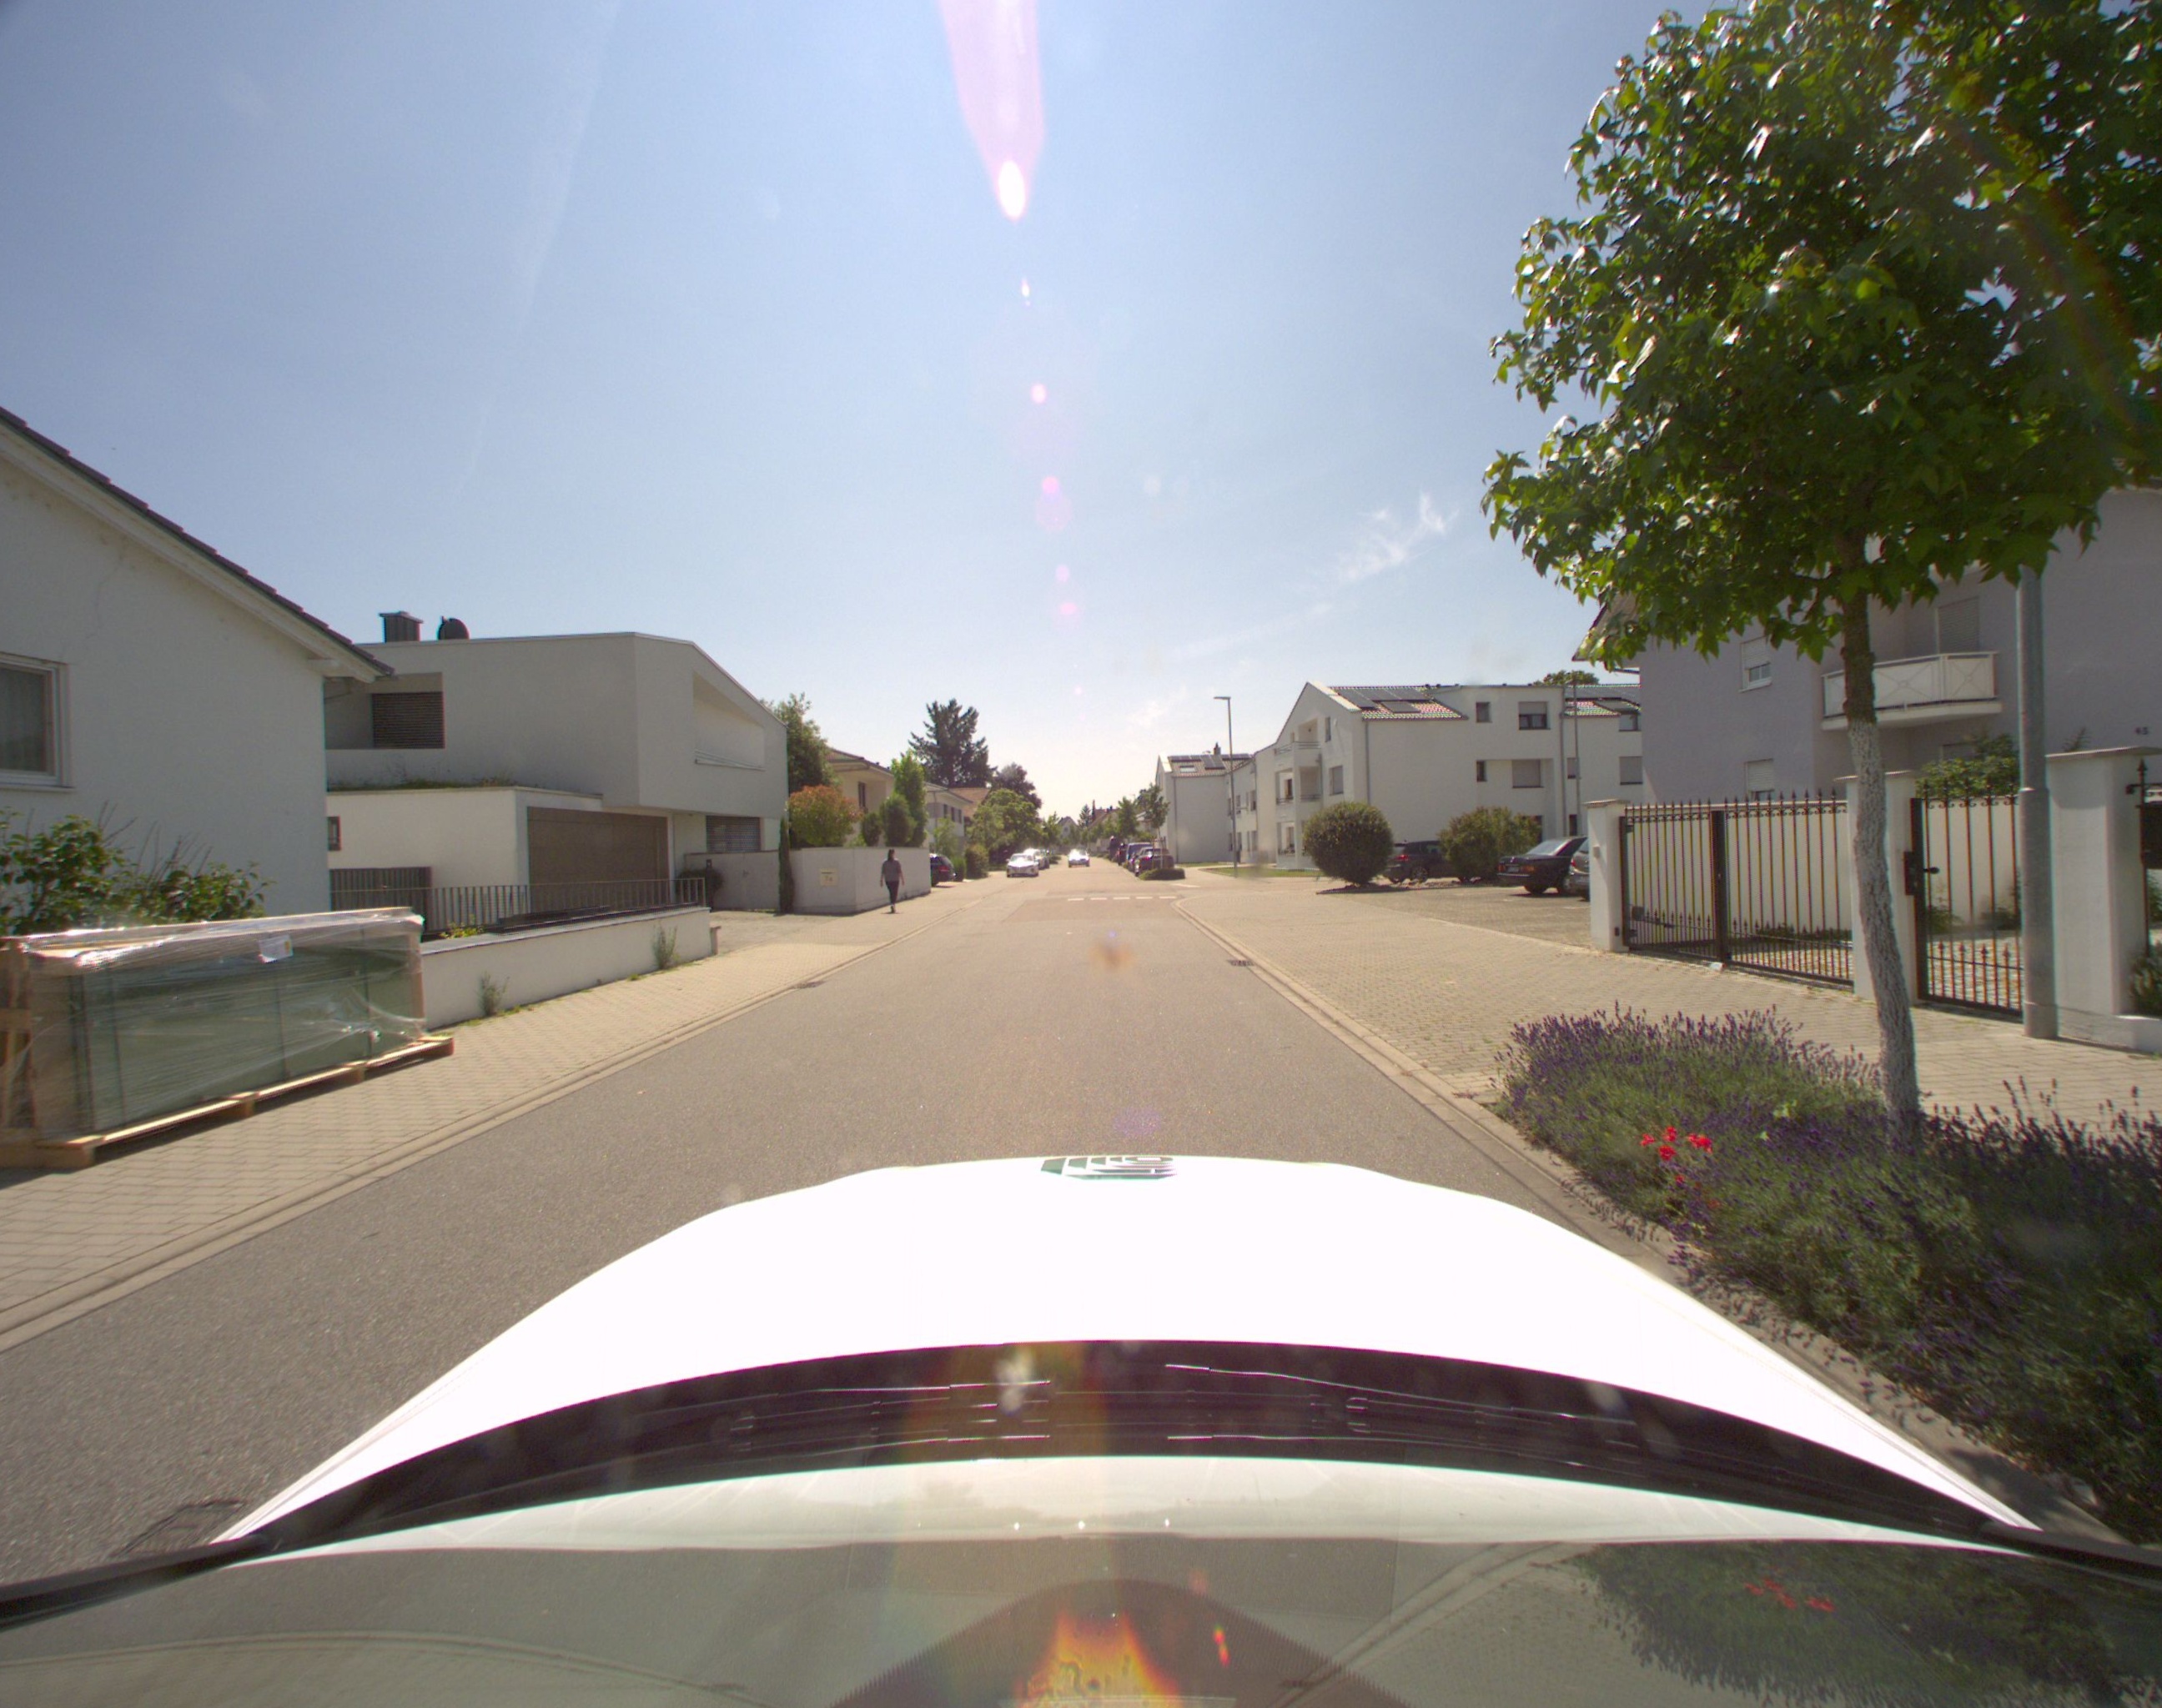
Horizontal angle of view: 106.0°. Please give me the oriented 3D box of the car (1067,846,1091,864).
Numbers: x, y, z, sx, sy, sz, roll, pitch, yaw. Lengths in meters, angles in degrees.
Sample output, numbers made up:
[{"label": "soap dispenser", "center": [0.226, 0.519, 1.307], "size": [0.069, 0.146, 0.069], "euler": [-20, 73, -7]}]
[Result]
[{"label": "car", "center": [-0.137, 0.097, 73.463], "size": [1.845, 1.478, 4.703], "euler": [-2, 0, 3]}]

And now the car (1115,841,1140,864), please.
[{"label": "car", "center": [4.205, -0.151, 74.029], "size": [1.986, 1.947, 5.216], "euler": [-3, 0, 1]}]

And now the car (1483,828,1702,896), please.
[{"label": "car", "center": [12.030, 0.159, 19.312], "size": [4.191, 1.374, 1.663], "euler": [-2, 1, -3]}]

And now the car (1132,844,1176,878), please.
[{"label": "car", "center": [3.810, 0.351, 43.069], "size": [1.768, 1.595, 4.277], "euler": [-4, 0, -1]}]

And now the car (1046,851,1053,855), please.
[{"label": "car", "center": [-9.790, -0.285, 253.880], "size": [1.657, 1.250, 3.932], "euler": [-3, 0, 1]}]

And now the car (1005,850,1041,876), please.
[{"label": "car", "center": [-3.642, 0.520, 51.656], "size": [1.845, 1.488, 4.386], "euler": [-2, 0, 1]}]

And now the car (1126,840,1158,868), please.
[{"label": "car", "center": [4.412, -0.029, 59.825], "size": [2.091, 1.882, 4.845], "euler": [-2, 0, 2]}]

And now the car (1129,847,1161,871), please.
[{"label": "car", "center": [4.140, 0.314, 53.174], "size": [1.675, 1.441, 4.024], "euler": [-2, 0, -1]}]

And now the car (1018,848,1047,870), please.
[{"label": "car", "center": [-3.936, 0.397, 66.673], "size": [1.920, 1.687, 4.499], "euler": [-2, 0, 1]}]

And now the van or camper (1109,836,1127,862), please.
[{"label": "van or camper", "center": [4.487, -0.606, 99.004], "size": [1.987, 2.941, 4.000], "euler": [-2, 0, 1]}]

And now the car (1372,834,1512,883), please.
[{"label": "car", "center": [12.209, 0.138, 27.753], "size": [3.974, 1.467, 1.758], "euler": [-2, 0, 3]}]

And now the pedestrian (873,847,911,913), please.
[{"label": "pedestrian", "center": [-5.139, 0.682, 22.193], "size": [0.712, 1.747, 0.961], "euler": [-2, 0, 1]}]

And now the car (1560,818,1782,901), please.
[{"label": "car", "center": [12.125, 0.088, 16.872], "size": [3.436, 1.494, 1.663], "euler": [-2, 1, -3]}]

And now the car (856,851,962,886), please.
[{"label": "car", "center": [-7.892, 0.643, 37.656], "size": [4.408, 1.473, 1.853], "euler": [1, 0, 4]}]
